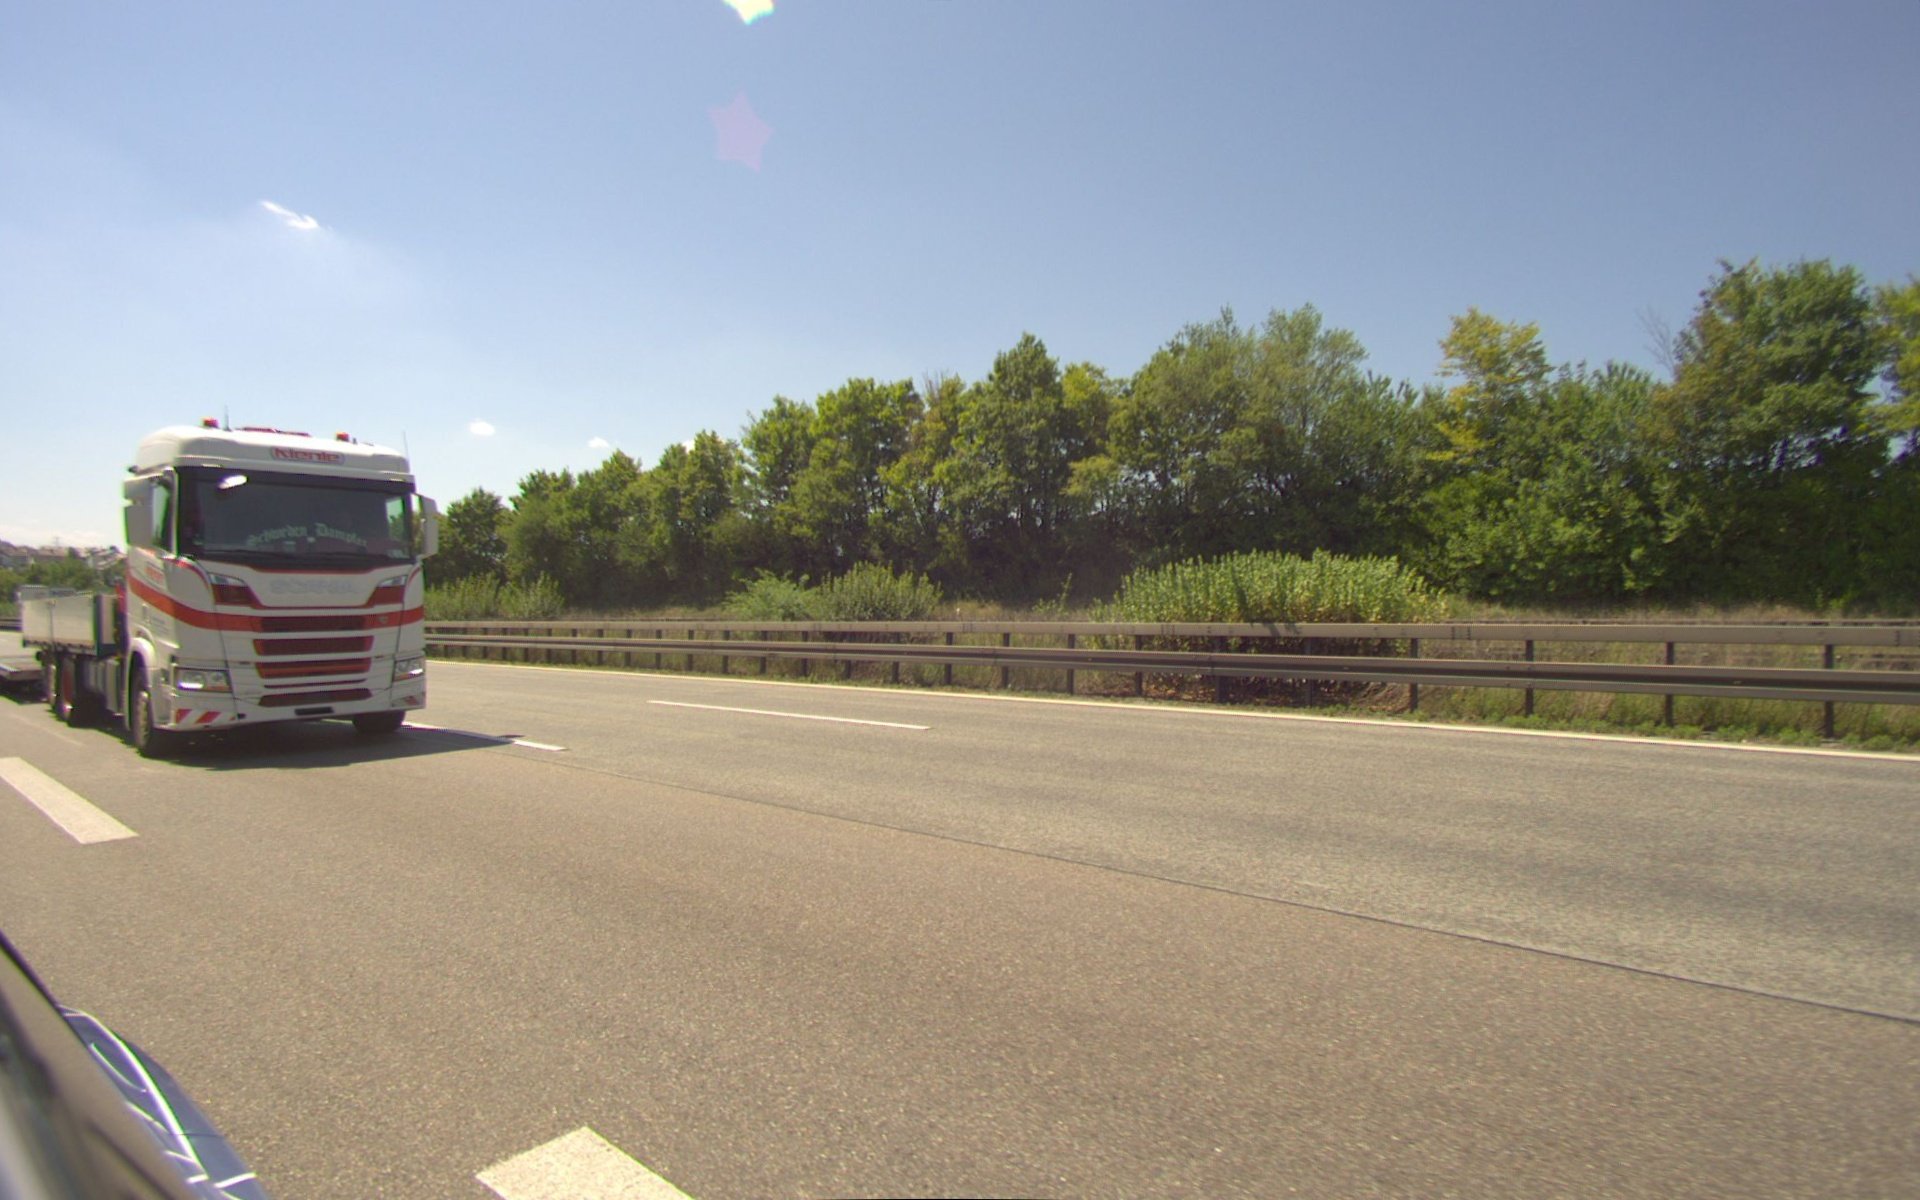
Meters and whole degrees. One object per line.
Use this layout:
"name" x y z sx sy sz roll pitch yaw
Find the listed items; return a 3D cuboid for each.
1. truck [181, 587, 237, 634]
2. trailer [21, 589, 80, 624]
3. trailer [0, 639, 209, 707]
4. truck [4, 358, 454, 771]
"truck" -65.690 0.933 88.509 5.741 3.918 2.668 -1 -1 40
"trailer" -111.896 0.832 124.405 13.911 4.121 3.359 -1 0 39
"trailer" -17.466 1.313 19.951 7.755 0.941 2.686 -1 -1 41
"truck" -10.606 -0.250 13.915 10.666 3.831 2.686 -1 -1 41
